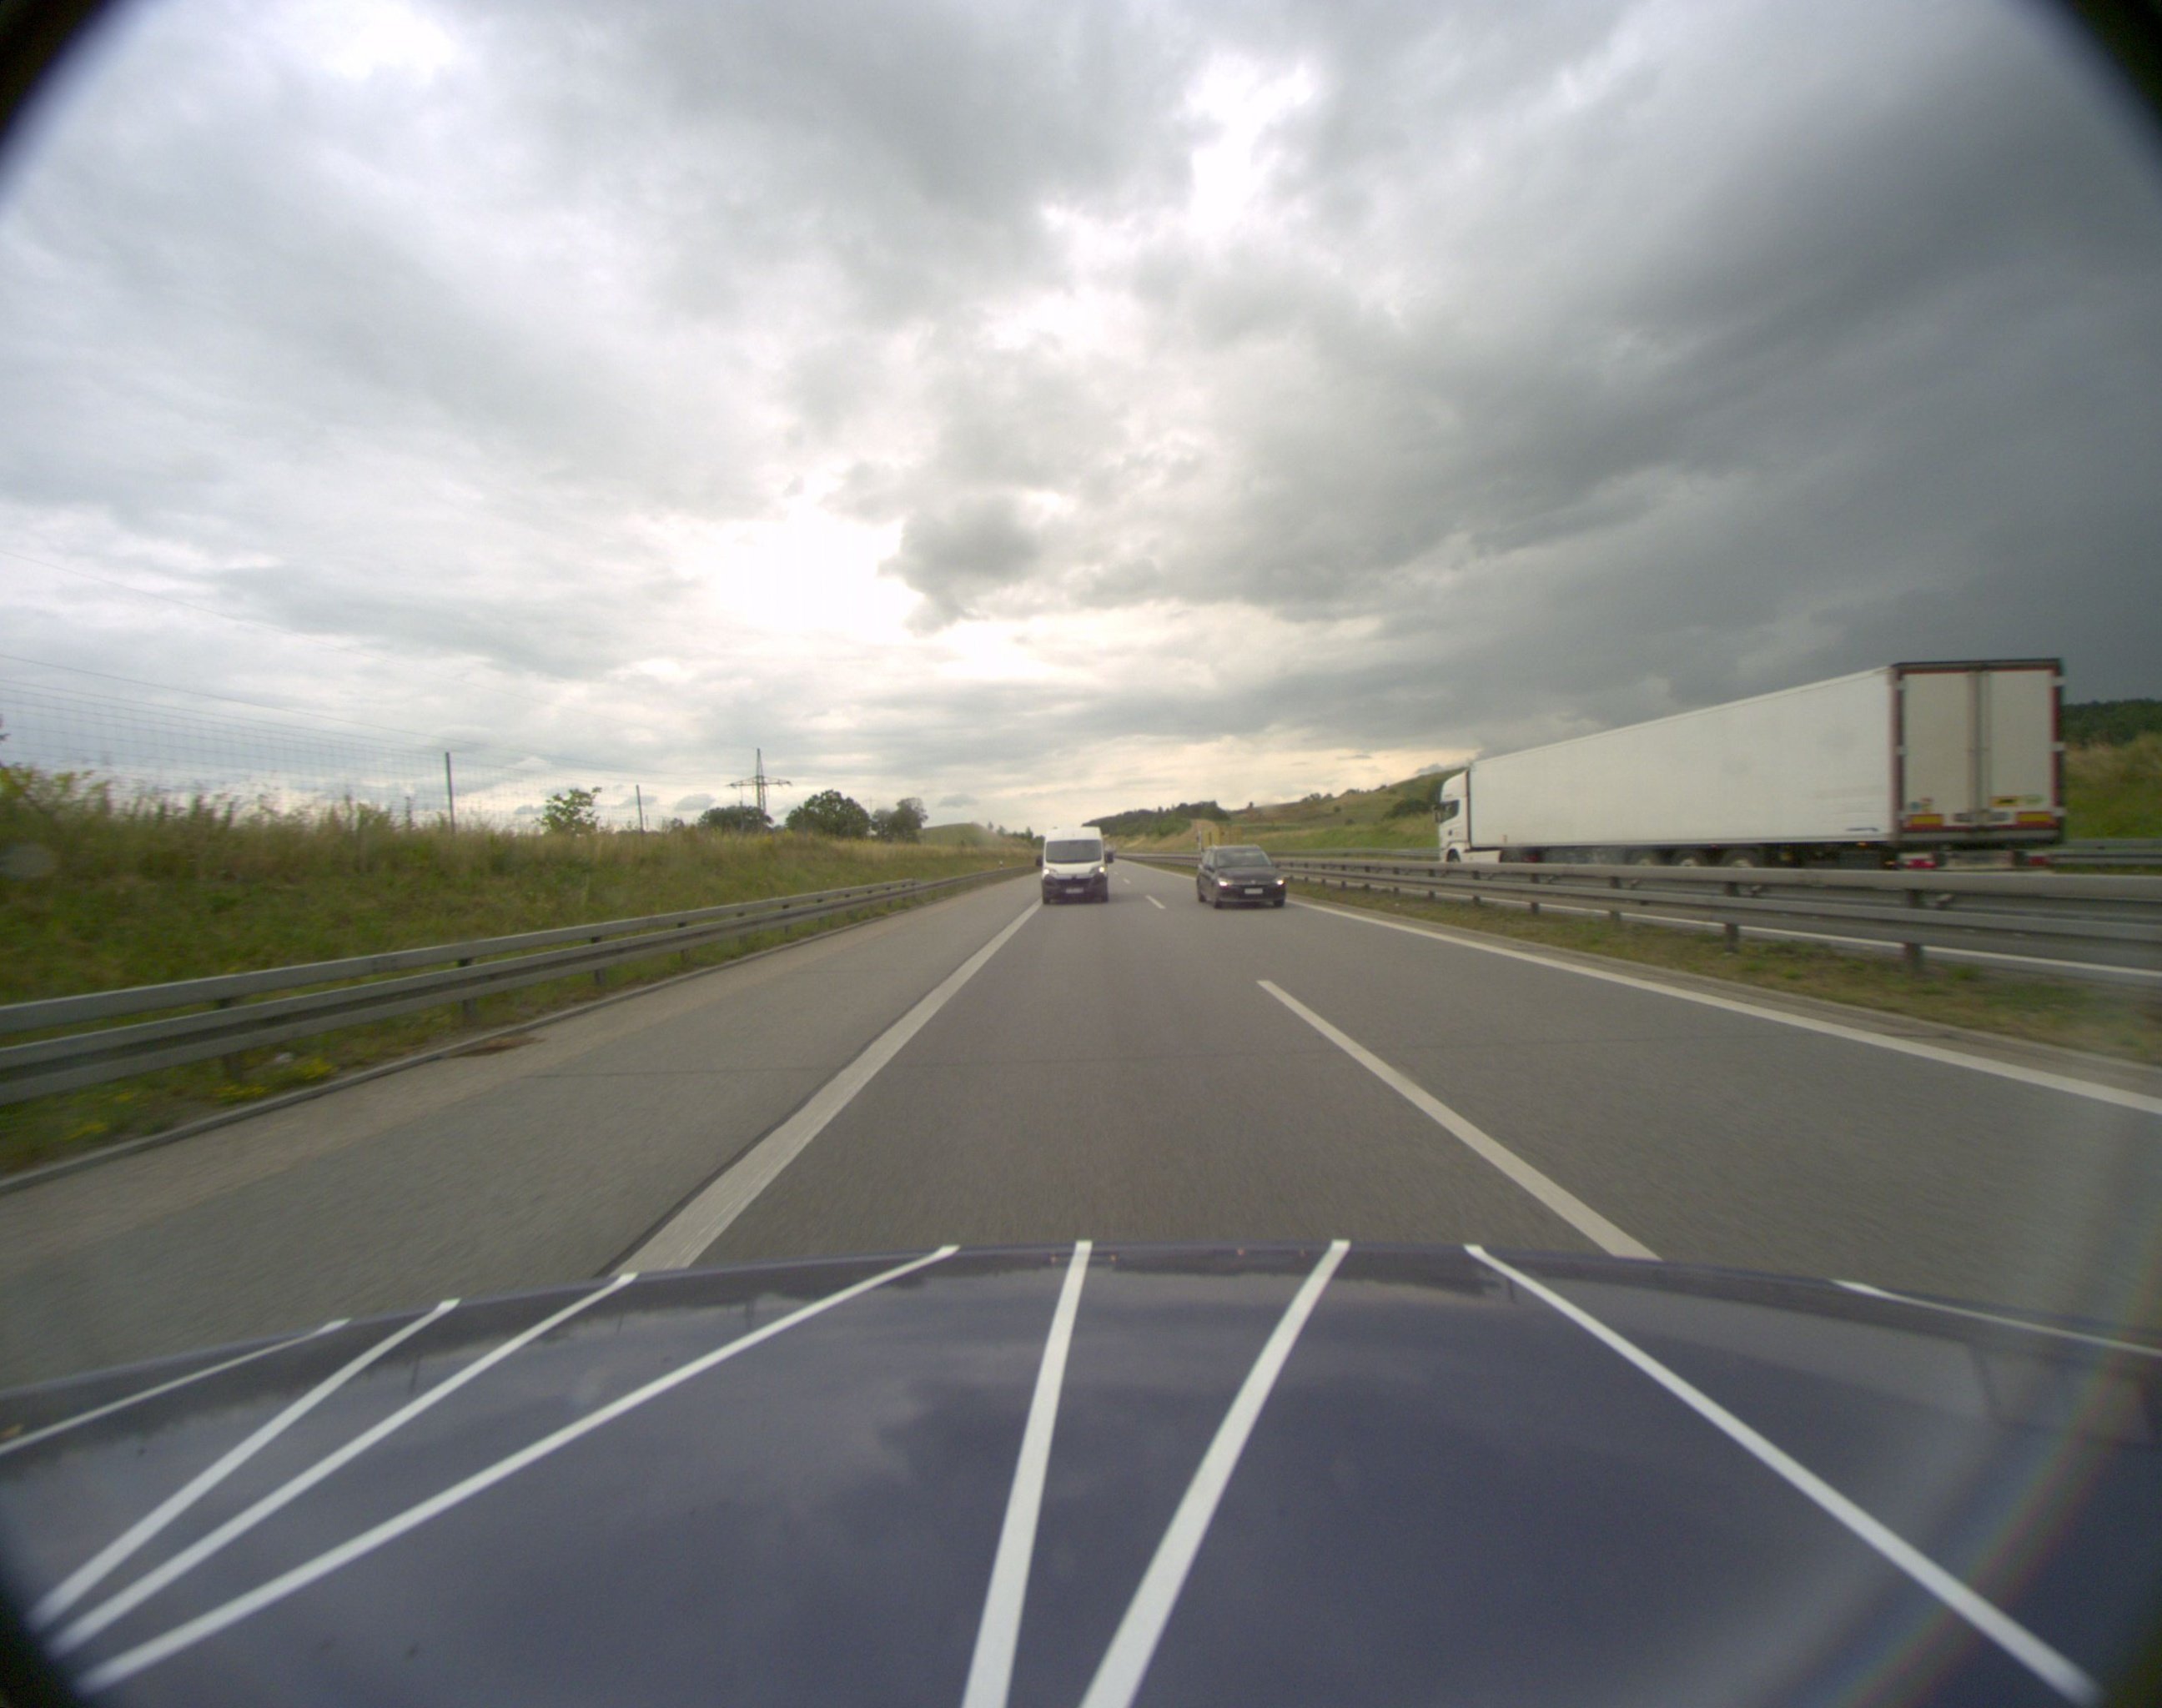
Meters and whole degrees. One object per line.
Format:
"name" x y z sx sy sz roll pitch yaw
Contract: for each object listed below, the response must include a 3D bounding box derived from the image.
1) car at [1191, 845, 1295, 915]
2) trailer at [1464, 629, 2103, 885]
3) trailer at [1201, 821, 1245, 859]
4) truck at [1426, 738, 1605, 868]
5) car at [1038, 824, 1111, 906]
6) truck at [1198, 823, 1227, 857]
"car" 4.342 0.612 21.268 1.901 1.661 5.397 -2 1 2
"trailer" 14.646 -1.552 19.074 2.925 3.902 14.274 -2 0 1
"trailer" 16.281 -1.541 88.099 2.596 3.902 13.701 -2 0 1
"truck" 14.756 -1.591 26.366 2.959 3.903 5.517 -2 0 1
"car" -0.152 0.324 26.109 2.132 2.411 6.111 -2 0 1
"truck" 16.350 -1.705 94.762 2.599 3.903 5.587 -2 0 1
